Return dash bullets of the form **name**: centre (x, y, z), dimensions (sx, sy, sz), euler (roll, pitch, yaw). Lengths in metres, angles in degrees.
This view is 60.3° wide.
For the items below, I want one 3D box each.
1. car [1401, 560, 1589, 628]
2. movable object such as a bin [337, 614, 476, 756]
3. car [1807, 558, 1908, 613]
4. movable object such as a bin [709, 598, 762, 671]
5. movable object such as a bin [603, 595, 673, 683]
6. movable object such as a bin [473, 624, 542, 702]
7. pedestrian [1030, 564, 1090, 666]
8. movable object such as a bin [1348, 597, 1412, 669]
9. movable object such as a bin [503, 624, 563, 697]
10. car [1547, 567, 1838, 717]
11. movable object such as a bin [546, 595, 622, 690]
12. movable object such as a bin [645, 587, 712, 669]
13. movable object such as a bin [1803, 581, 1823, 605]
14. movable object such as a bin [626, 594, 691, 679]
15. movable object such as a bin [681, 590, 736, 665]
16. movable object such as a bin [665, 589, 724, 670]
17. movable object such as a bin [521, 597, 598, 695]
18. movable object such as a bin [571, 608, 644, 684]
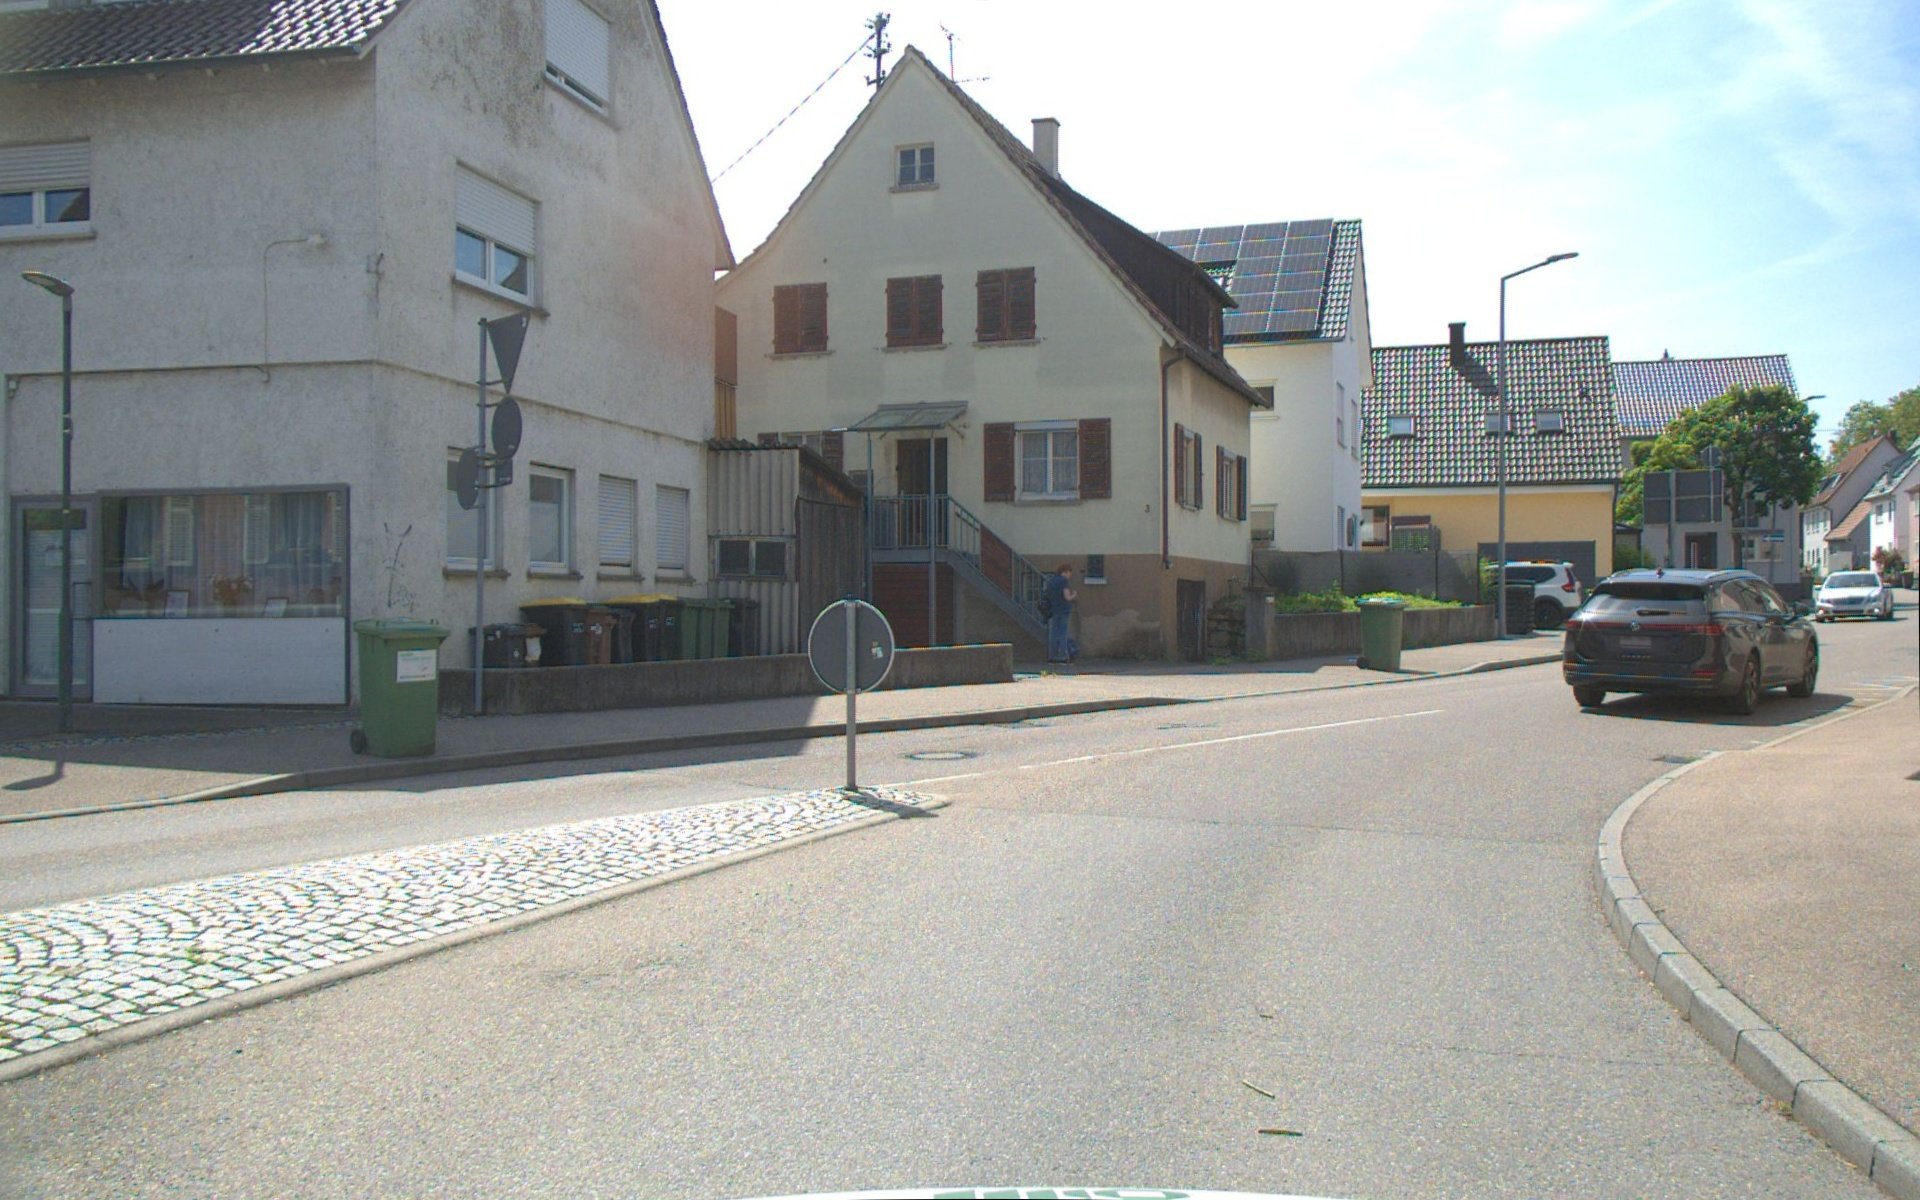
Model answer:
- **car**: centre (13.468, -0.155, 41.669), dimensions (4.314, 1.651, 1.999), euler (0, 0, 25)
- **movable object such as a bin**: centre (-4.470, 0.661, 13.353), dimensions (0.820, 1.063, 0.799), euler (-1, 1, -42)
- **car**: centre (26.693, -0.447, 49.141), dimensions (1.923, 1.512, 4.439), euler (-2, -1, 38)
- **movable object such as a bin**: centre (-3.309, 0.501, 24.406), dimensions (0.615, 1.052, 0.614), euler (0, 1, 11)
- **movable object such as a bin**: centre (-4.138, 0.497, 21.306), dimensions (0.668, 1.101, 0.699), euler (0, 1, 11)
- **movable object such as a bin**: centre (-4.941, 0.680, 18.078), dimensions (0.475, 0.819, 0.647), euler (0, 1, 13)
- **pedestrian**: centre (1.602, 0.225, 26.500), dimensions (0.762, 1.601, 0.627), euler (0, 1, 29)
- **movable object such as a bin**: centre (6.493, 0.497, 25.554), dimensions (0.777, 1.076, 0.649), euler (0, 1, 34)
- **movable object such as a bin**: centre (-4.813, 0.675, 18.659), dimensions (0.475, 0.794, 0.528), euler (0, 1, 11)
- **car**: centre (8.234, 0.362, 18.354), dimensions (1.813, 1.445, 4.659), euler (1, 1, 39)
- **movable object such as a bin**: centre (-4.521, 0.498, 19.914), dimensions (0.668, 1.105, 0.699), euler (0, 1, 11)
- **movable object such as a bin**: centre (-3.847, 0.376, 22.628), dimensions (0.723, 1.101, 0.661), euler (0, 1, 11)
- **movable object such as a bin**: centre (37.609, -0.311, 72.936), dimensions (0.738, 1.079, 0.679), euler (0, 1, 25)
- **movable object such as a bin**: centre (-3.996, 0.474, 21.979), dimensions (0.668, 1.101, 0.626), euler (0, 1, 11)
- **movable object such as a bin**: centre (-3.623, 0.393, 23.812), dimensions (0.614, 1.053, 0.604), euler (0, 1, 11)
- **movable object such as a bin**: centre (-3.714, 0.406, 23.170), dimensions (0.664, 1.101, 0.584), euler (0, 1, 11)
- **movable object such as a bin**: centre (-4.650, 0.519, 19.231), dimensions (0.668, 1.105, 0.645), euler (0, 1, 11)
- **movable object such as a bin**: centre (-4.389, 0.567, 20.626), dimensions (0.668, 0.912, 0.699), euler (0, 1, 11)
